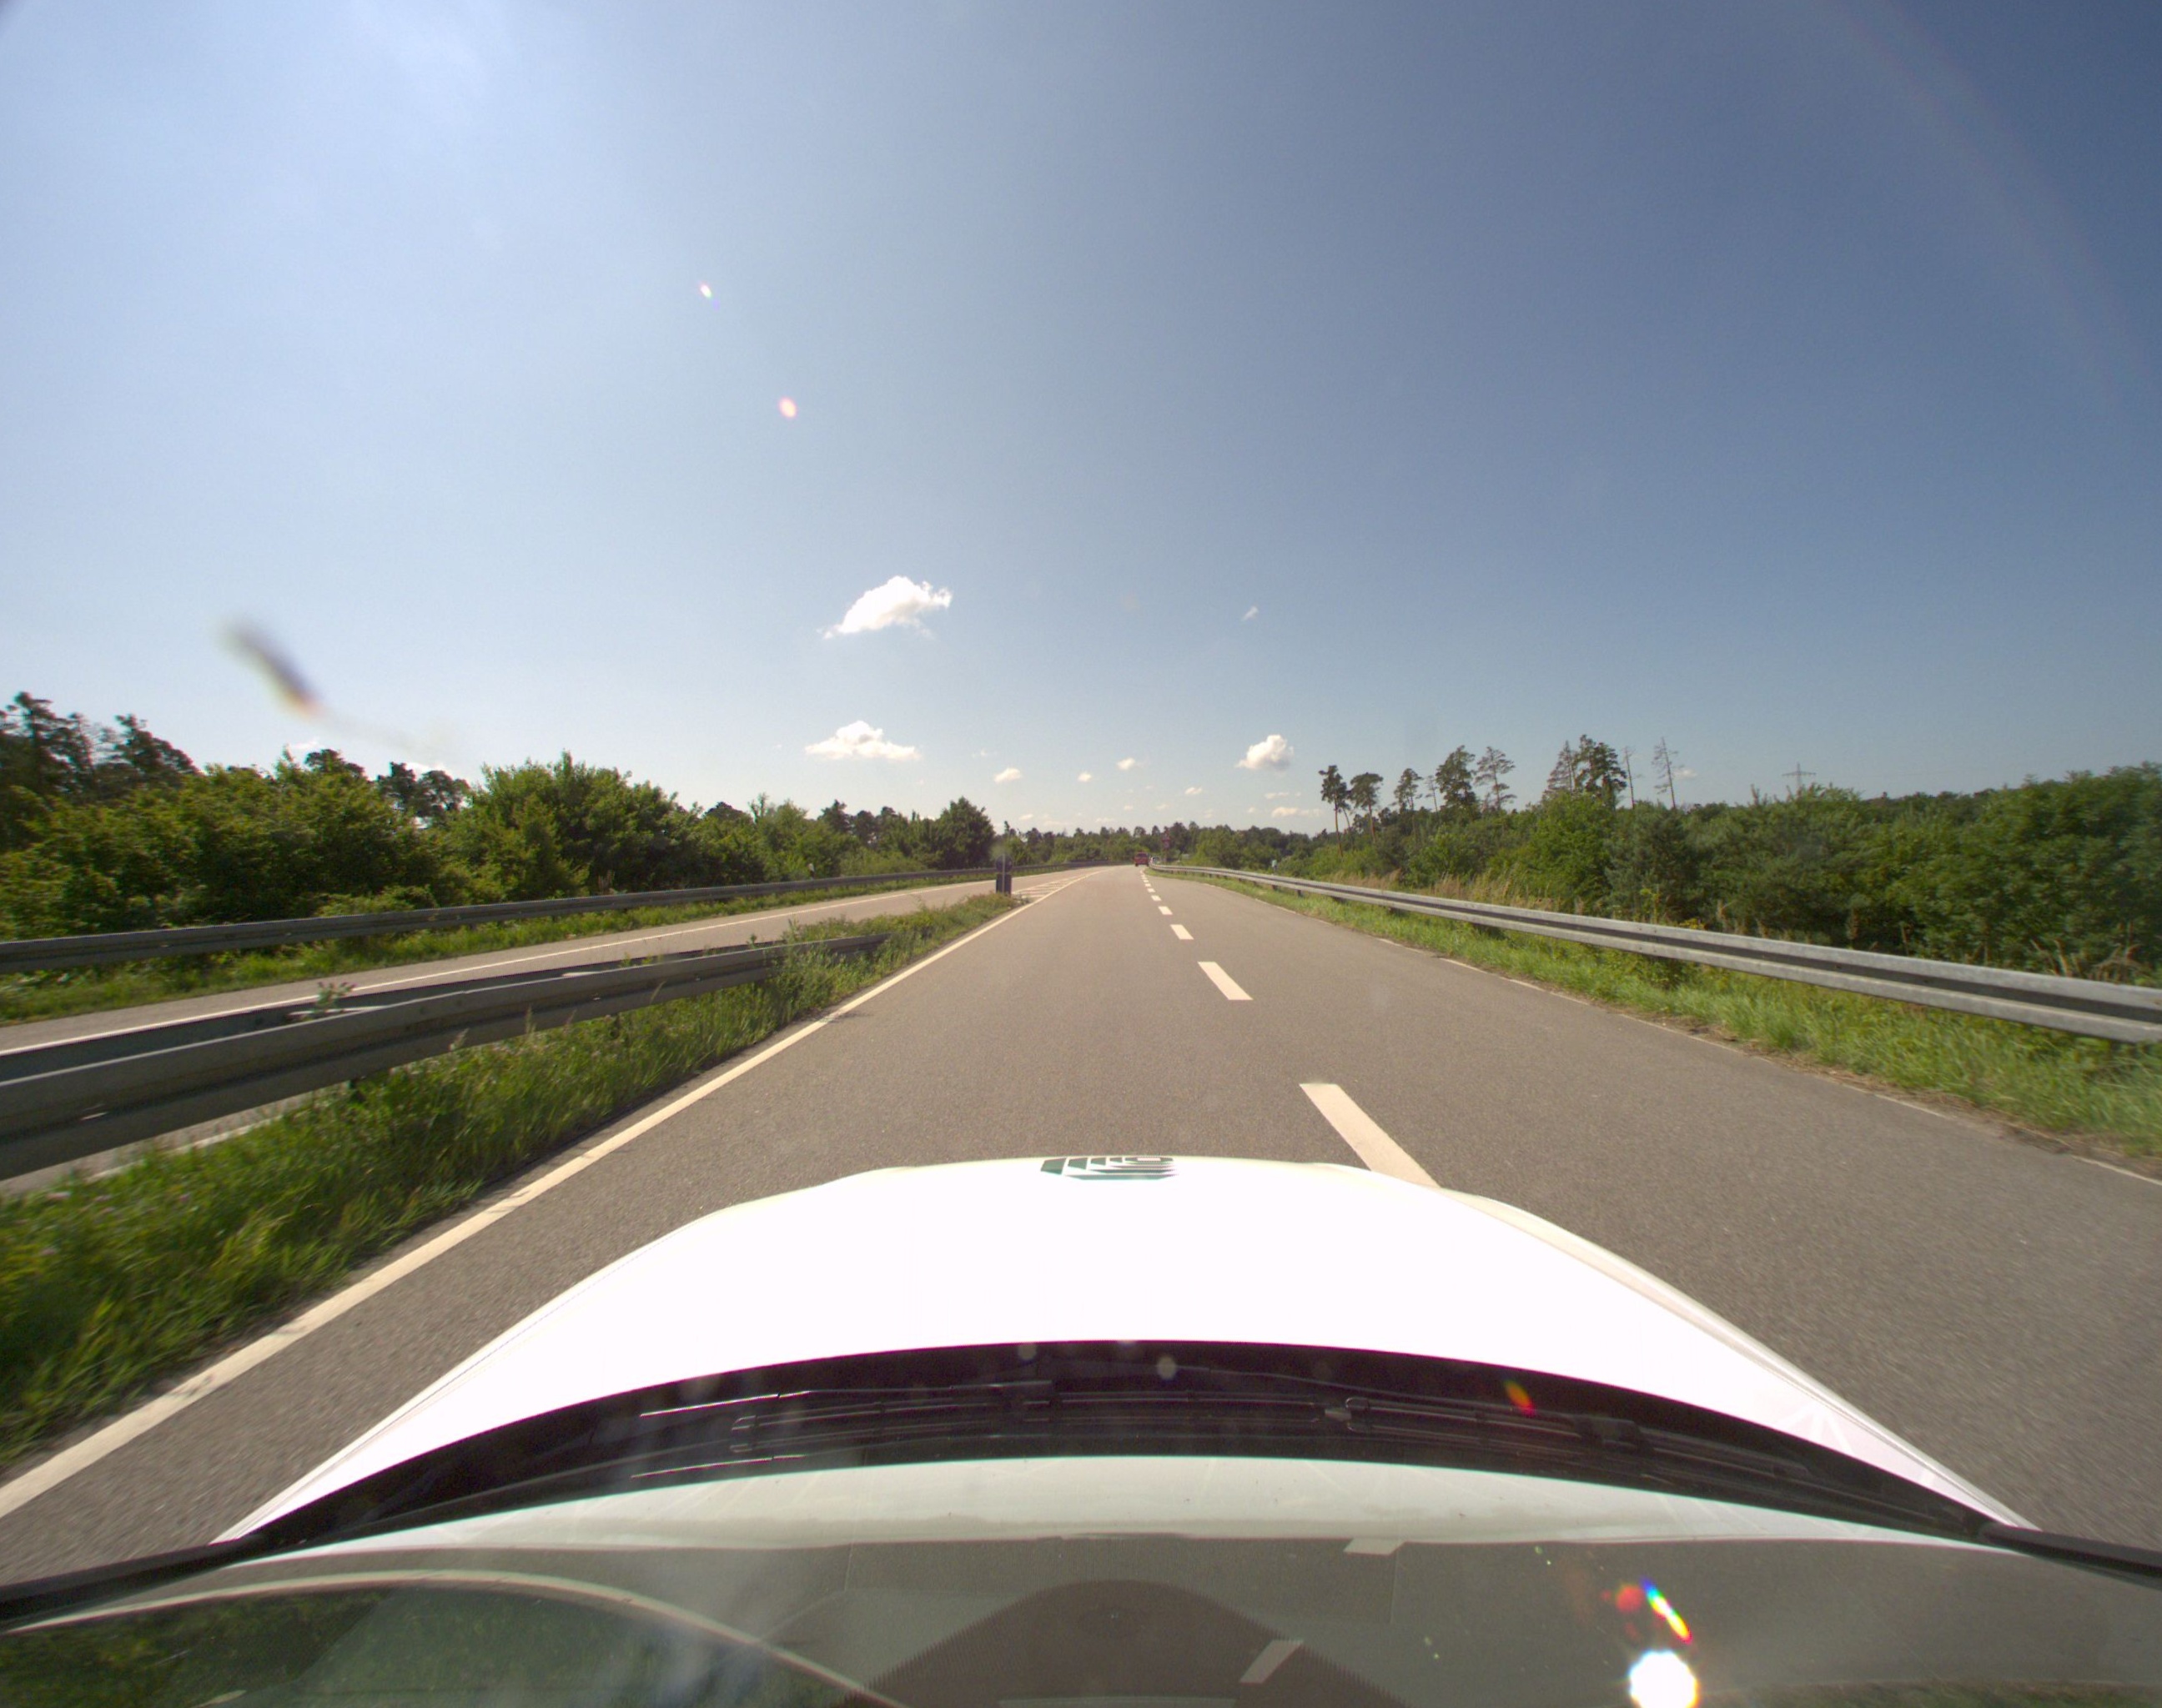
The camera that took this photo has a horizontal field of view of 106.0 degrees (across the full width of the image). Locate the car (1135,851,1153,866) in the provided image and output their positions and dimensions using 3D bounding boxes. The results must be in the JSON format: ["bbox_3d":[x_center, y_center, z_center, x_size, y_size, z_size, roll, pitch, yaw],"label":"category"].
[{"bbox_3d":[9.052,0.680,116.575,2.065,1.993,5.124,0,-1,9],"label":"car"}]

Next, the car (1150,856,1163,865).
[{"bbox_3d":[12.784,1.174,138.118,1.995,1.494,4.249,0,-1,9],"label":"car"}]
